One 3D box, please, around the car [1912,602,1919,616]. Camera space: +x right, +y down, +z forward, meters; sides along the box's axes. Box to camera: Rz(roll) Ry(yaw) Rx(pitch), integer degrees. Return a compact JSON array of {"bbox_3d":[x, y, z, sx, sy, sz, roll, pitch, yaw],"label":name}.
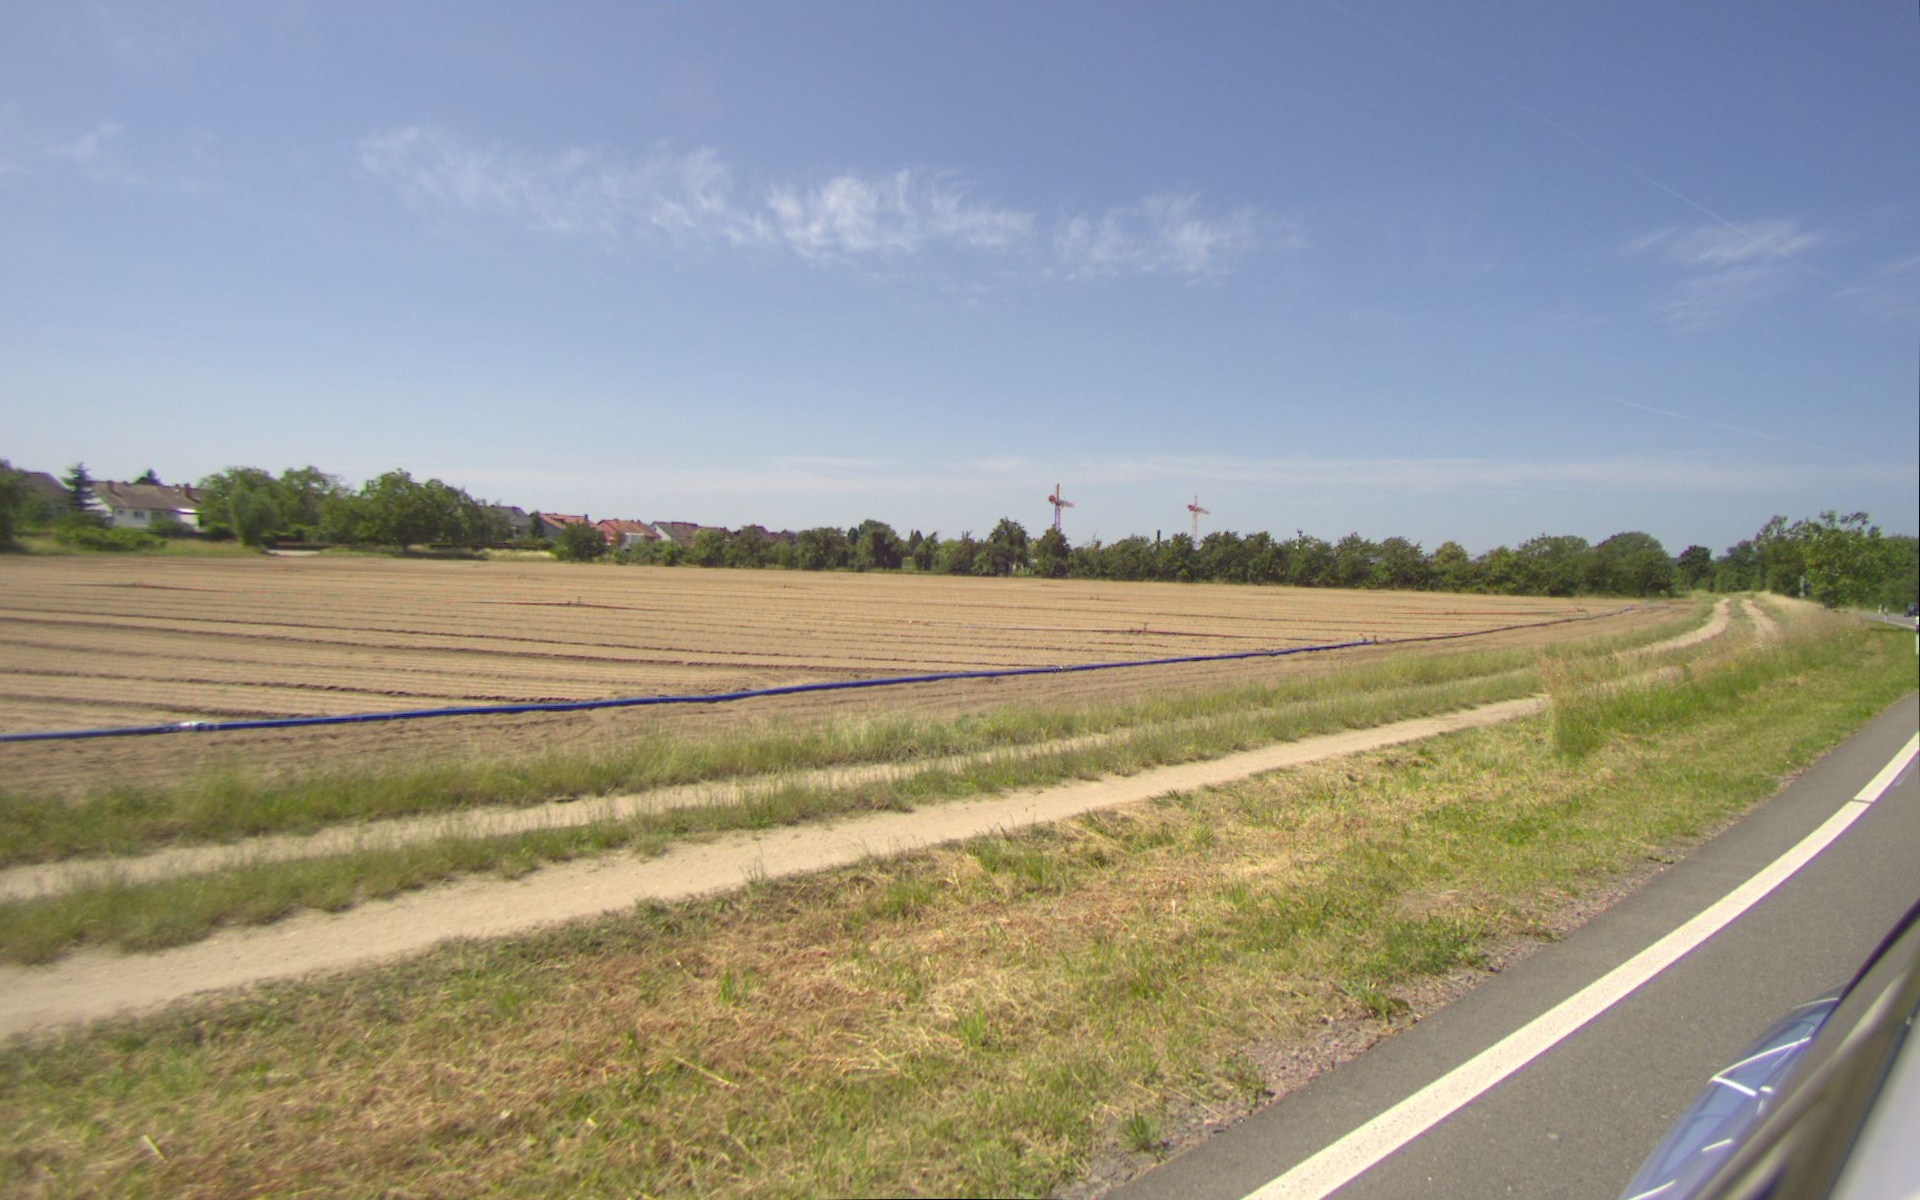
[{"bbox_3d":[98.897,0.903,103.631,1.689,1.379,3.773,1,1,38],"label":"car"}]
